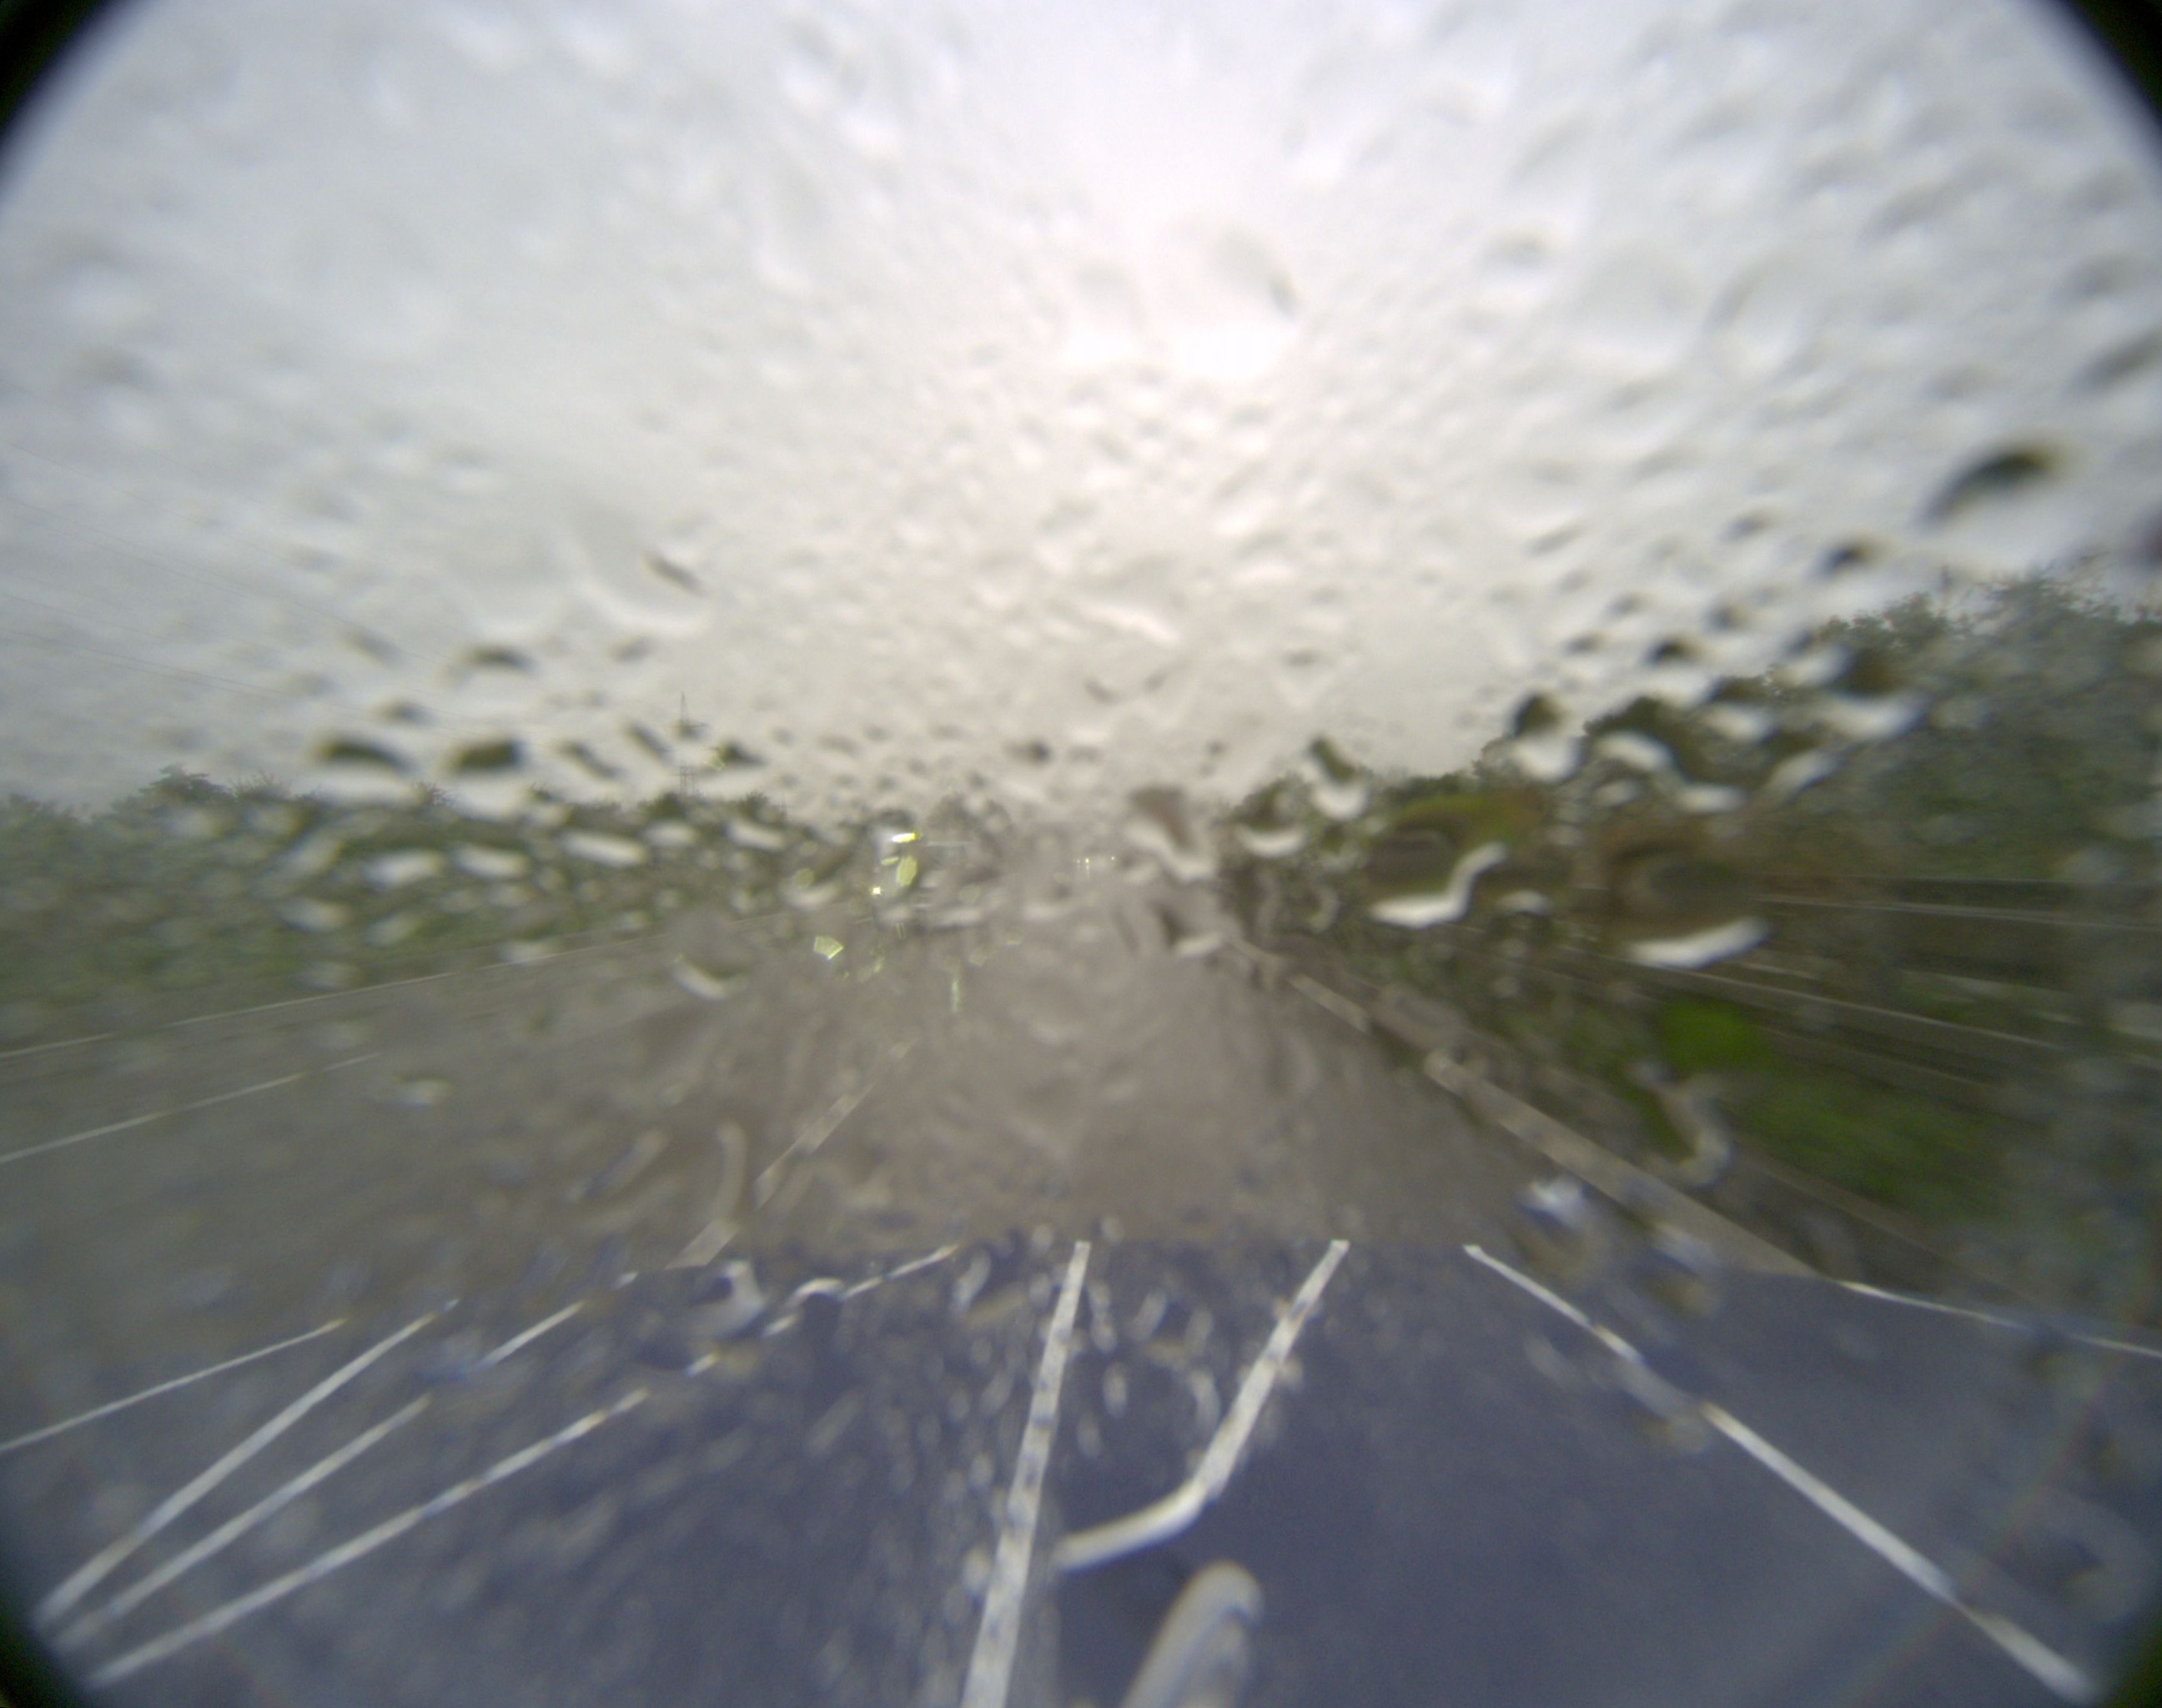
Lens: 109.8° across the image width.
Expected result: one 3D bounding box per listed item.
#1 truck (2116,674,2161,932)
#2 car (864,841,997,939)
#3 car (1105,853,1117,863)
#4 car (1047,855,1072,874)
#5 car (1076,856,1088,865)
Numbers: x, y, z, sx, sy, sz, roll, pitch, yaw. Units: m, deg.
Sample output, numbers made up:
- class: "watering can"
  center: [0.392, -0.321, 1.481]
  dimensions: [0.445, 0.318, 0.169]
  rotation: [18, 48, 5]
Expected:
- class: "truck"
  center: [17.202, -0.776, 9.187]
  dimensions: [2.591, 3.809, 4.975]
  rotation: [-2, 0, 1]
- class: "car"
  center: [-3.345, 0.733, 17.989]
  dimensions: [1.892, 1.873, 5.009]
  rotation: [-4, 0, 1]
- class: "car"
  center: [4.820, 0.653, 122.745]
  dimensions: [1.769, 1.448, 3.960]
  rotation: [-4, 0, 3]
- class: "car"
  center: [-1.790, 0.879, 64.296]
  dimensions: [1.769, 1.448, 3.960]
  rotation: [-4, 0, 3]
- class: "car"
  center: [0.242, 1.093, 128.147]
  dimensions: [1.769, 1.448, 3.960]
  rotation: [-4, 0, 3]
